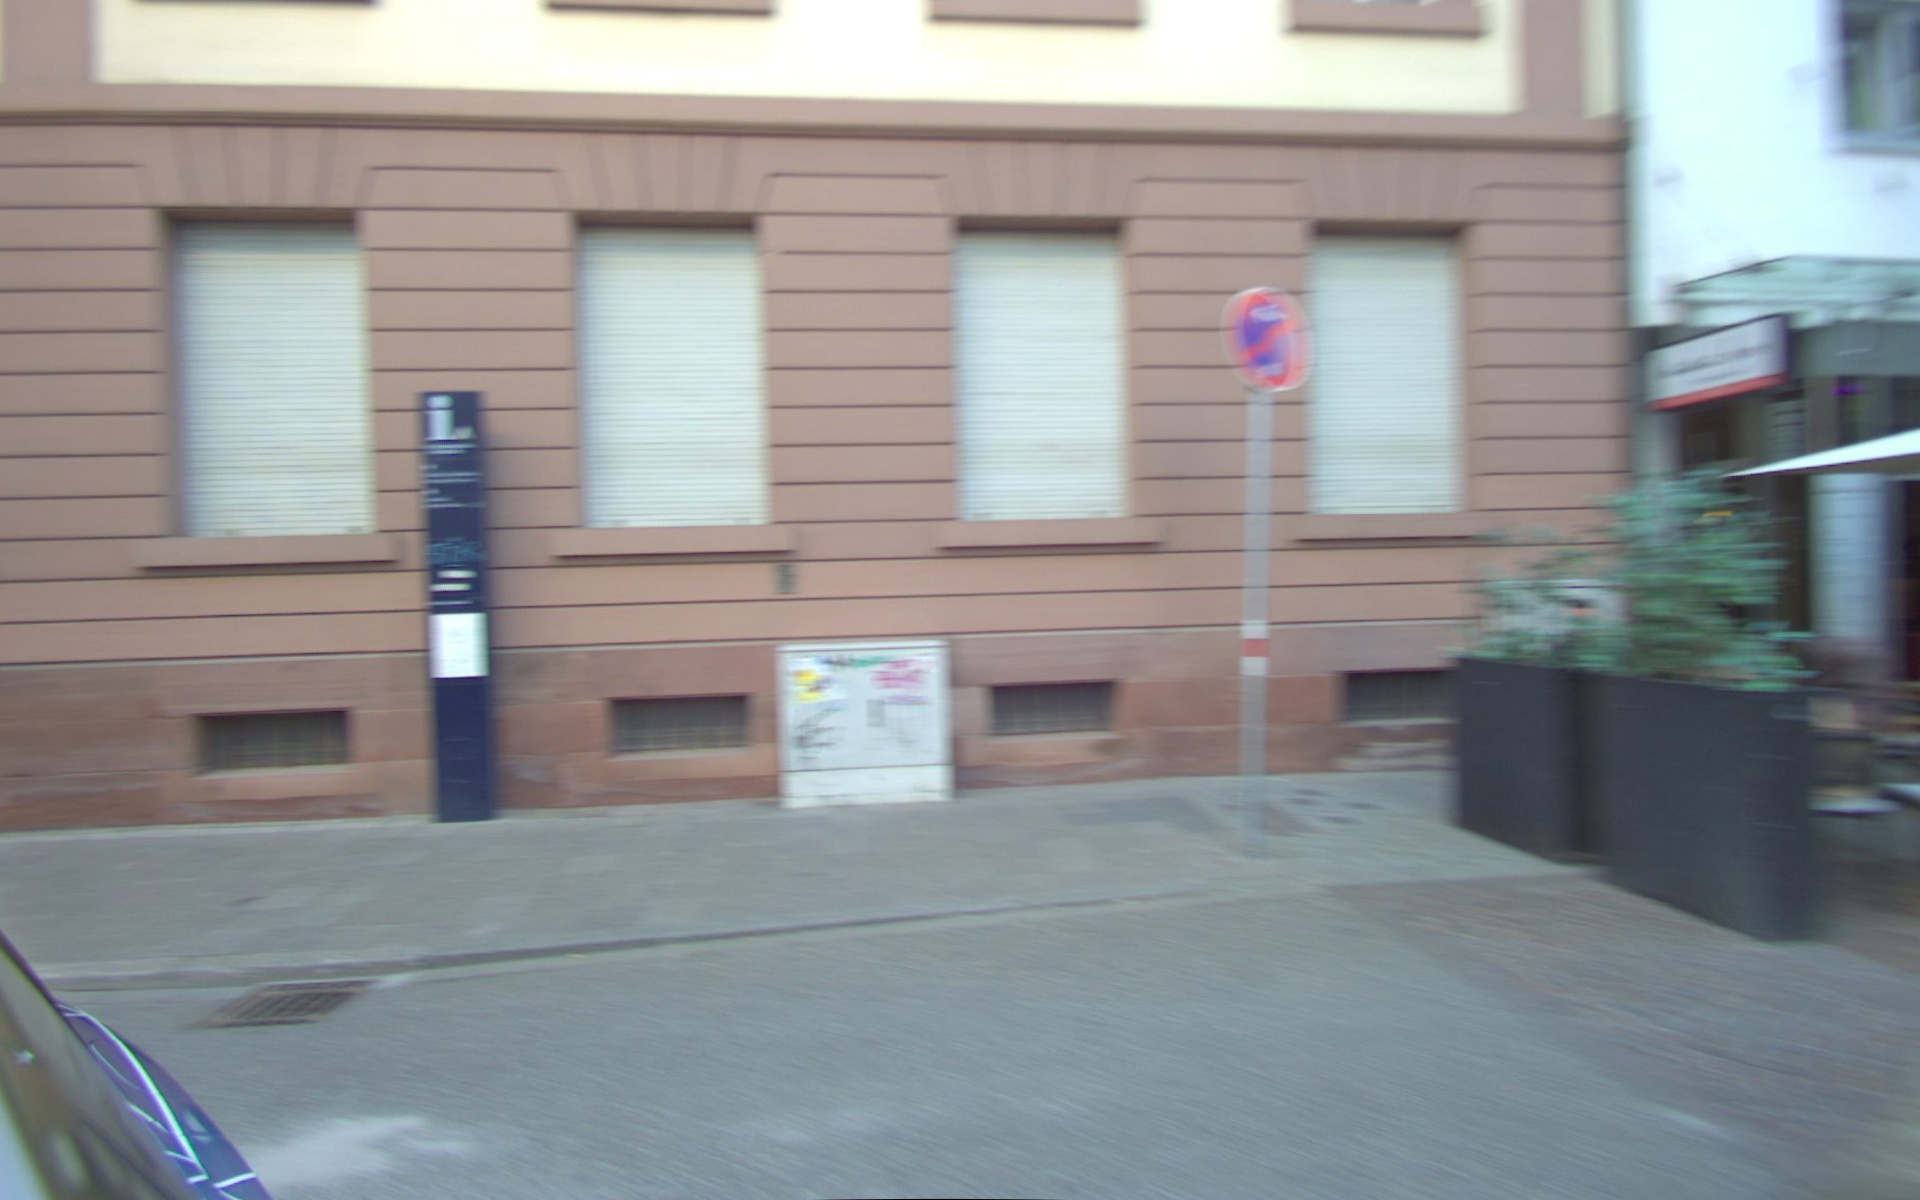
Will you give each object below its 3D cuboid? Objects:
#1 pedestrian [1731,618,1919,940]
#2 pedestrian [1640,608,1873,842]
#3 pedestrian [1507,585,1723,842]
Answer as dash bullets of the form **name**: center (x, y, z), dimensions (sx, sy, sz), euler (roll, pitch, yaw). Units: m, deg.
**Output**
- **pedestrian**: center (3.931, 0.696, 4.296), dimensions (0.662, 1.192, 0.794), euler (-2, 1, -11)
- **pedestrian**: center (4.505, 0.665, 5.774), dimensions (0.663, 1.192, 0.794), euler (-2, 1, -7)
- **pedestrian**: center (3.711, 0.595, 5.786), dimensions (0.663, 1.341, 0.794), euler (-2, 1, -7)
